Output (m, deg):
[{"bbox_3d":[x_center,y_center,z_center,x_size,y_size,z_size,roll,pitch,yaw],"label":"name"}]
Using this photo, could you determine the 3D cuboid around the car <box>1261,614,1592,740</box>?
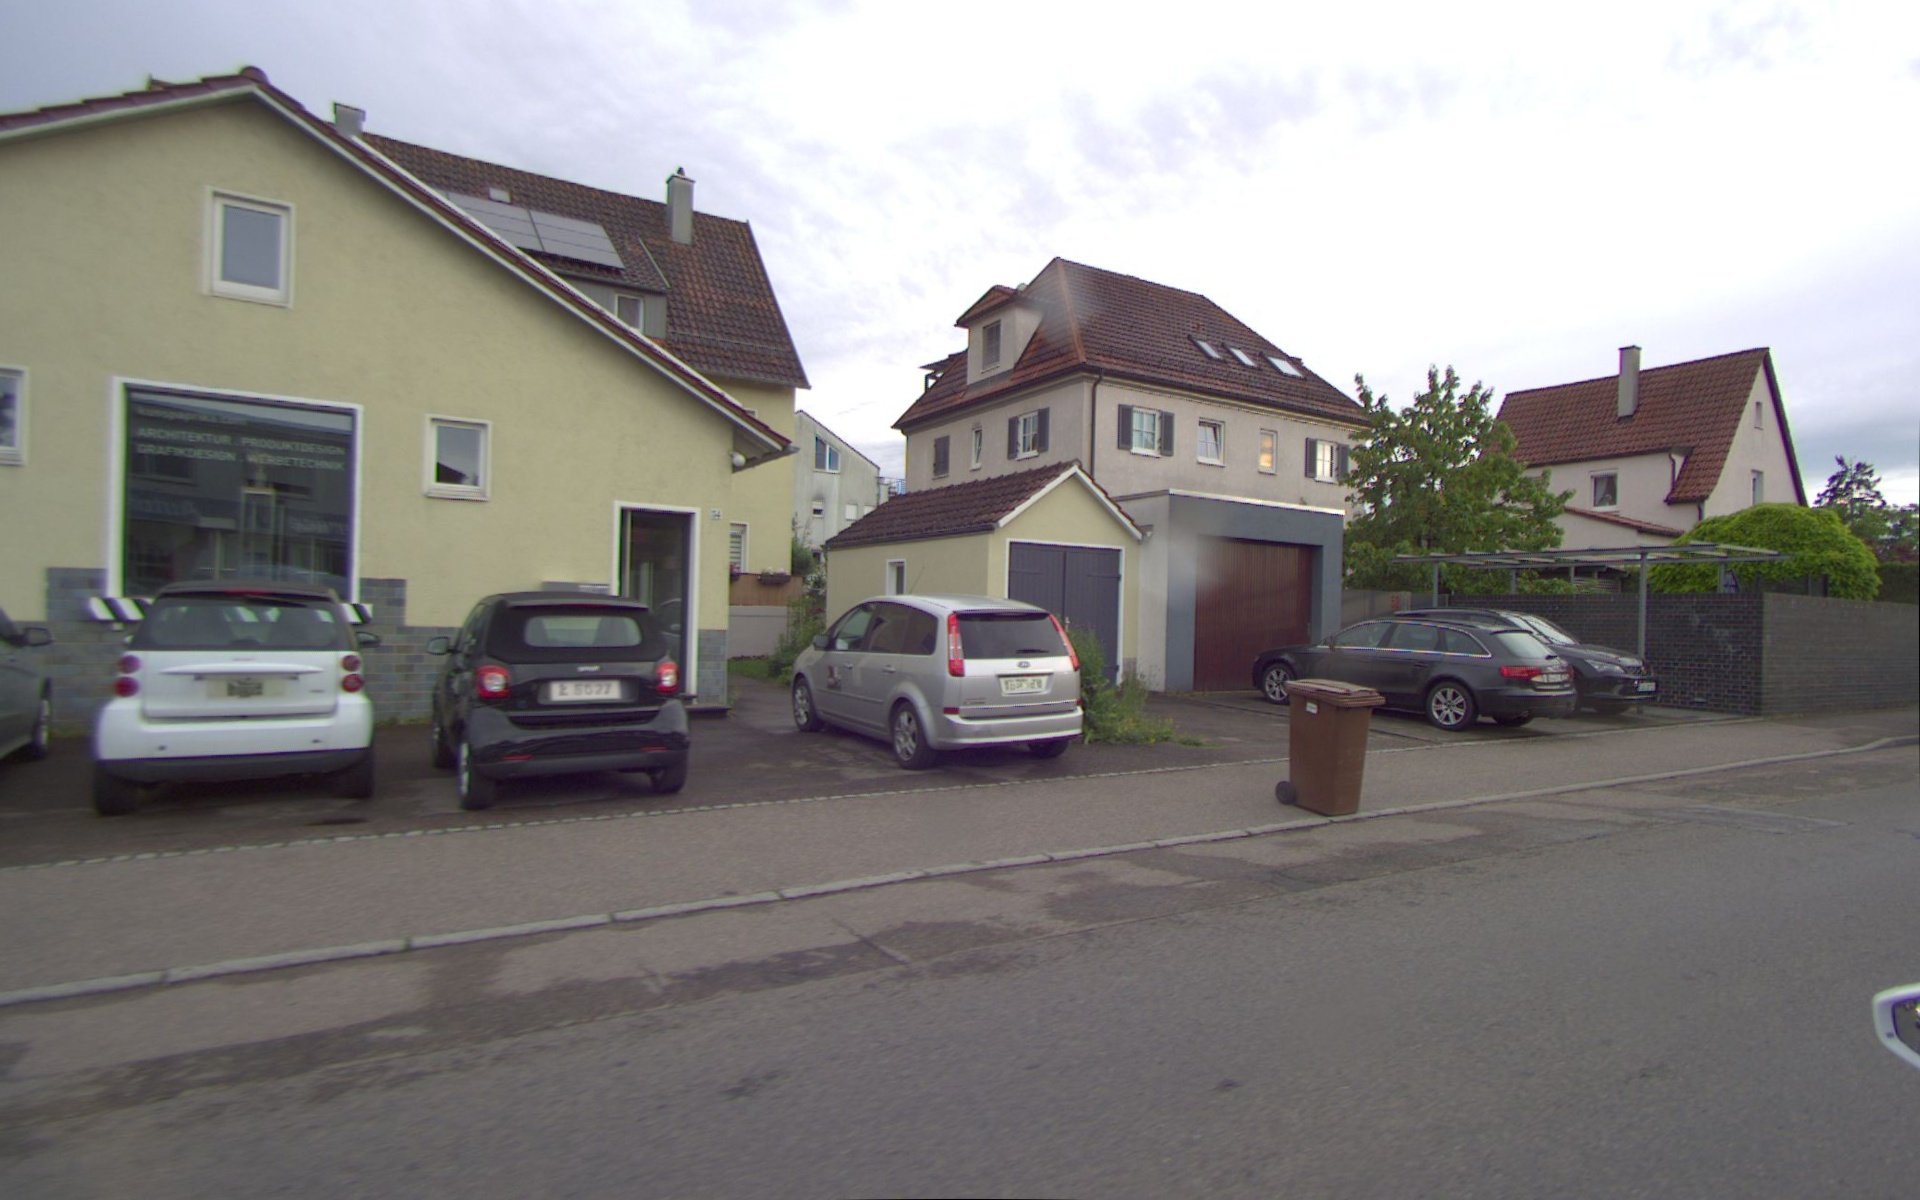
[{"bbox_3d":[6.532,0.981,14.498,1.695,1.433,4.060,1,0,-32],"label":"car"}]

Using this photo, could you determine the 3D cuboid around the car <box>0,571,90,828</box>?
[{"bbox_3d":[-7.576,0.583,6.898,1.980,1.553,4.057,1,-1,-35],"label":"car"}]

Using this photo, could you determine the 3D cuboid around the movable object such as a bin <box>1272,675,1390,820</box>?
[{"bbox_3d":[3.148,1.227,8.546,0.678,1.072,0.593,-1,5,-30],"label":"movable object such as a bin"}]

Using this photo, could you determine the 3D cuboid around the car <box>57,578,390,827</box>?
[{"bbox_3d":[-5.979,0.656,8.462,1.795,1.553,4.059,1,-1,-33],"label":"car"}]

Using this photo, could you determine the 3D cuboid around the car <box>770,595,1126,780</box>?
[{"bbox_3d":[-0.337,0.743,10.567,1.863,1.534,4.060,1,-1,-33],"label":"car"}]

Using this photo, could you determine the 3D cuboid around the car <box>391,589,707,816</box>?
[{"bbox_3d":[-3.829,0.702,8.915,1.739,1.523,4.057,1,-1,-35],"label":"car"}]

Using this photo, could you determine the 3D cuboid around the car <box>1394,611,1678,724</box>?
[{"bbox_3d":[9.177,1.002,16.233,1.739,1.476,3.562,1,1,-34],"label":"car"}]
